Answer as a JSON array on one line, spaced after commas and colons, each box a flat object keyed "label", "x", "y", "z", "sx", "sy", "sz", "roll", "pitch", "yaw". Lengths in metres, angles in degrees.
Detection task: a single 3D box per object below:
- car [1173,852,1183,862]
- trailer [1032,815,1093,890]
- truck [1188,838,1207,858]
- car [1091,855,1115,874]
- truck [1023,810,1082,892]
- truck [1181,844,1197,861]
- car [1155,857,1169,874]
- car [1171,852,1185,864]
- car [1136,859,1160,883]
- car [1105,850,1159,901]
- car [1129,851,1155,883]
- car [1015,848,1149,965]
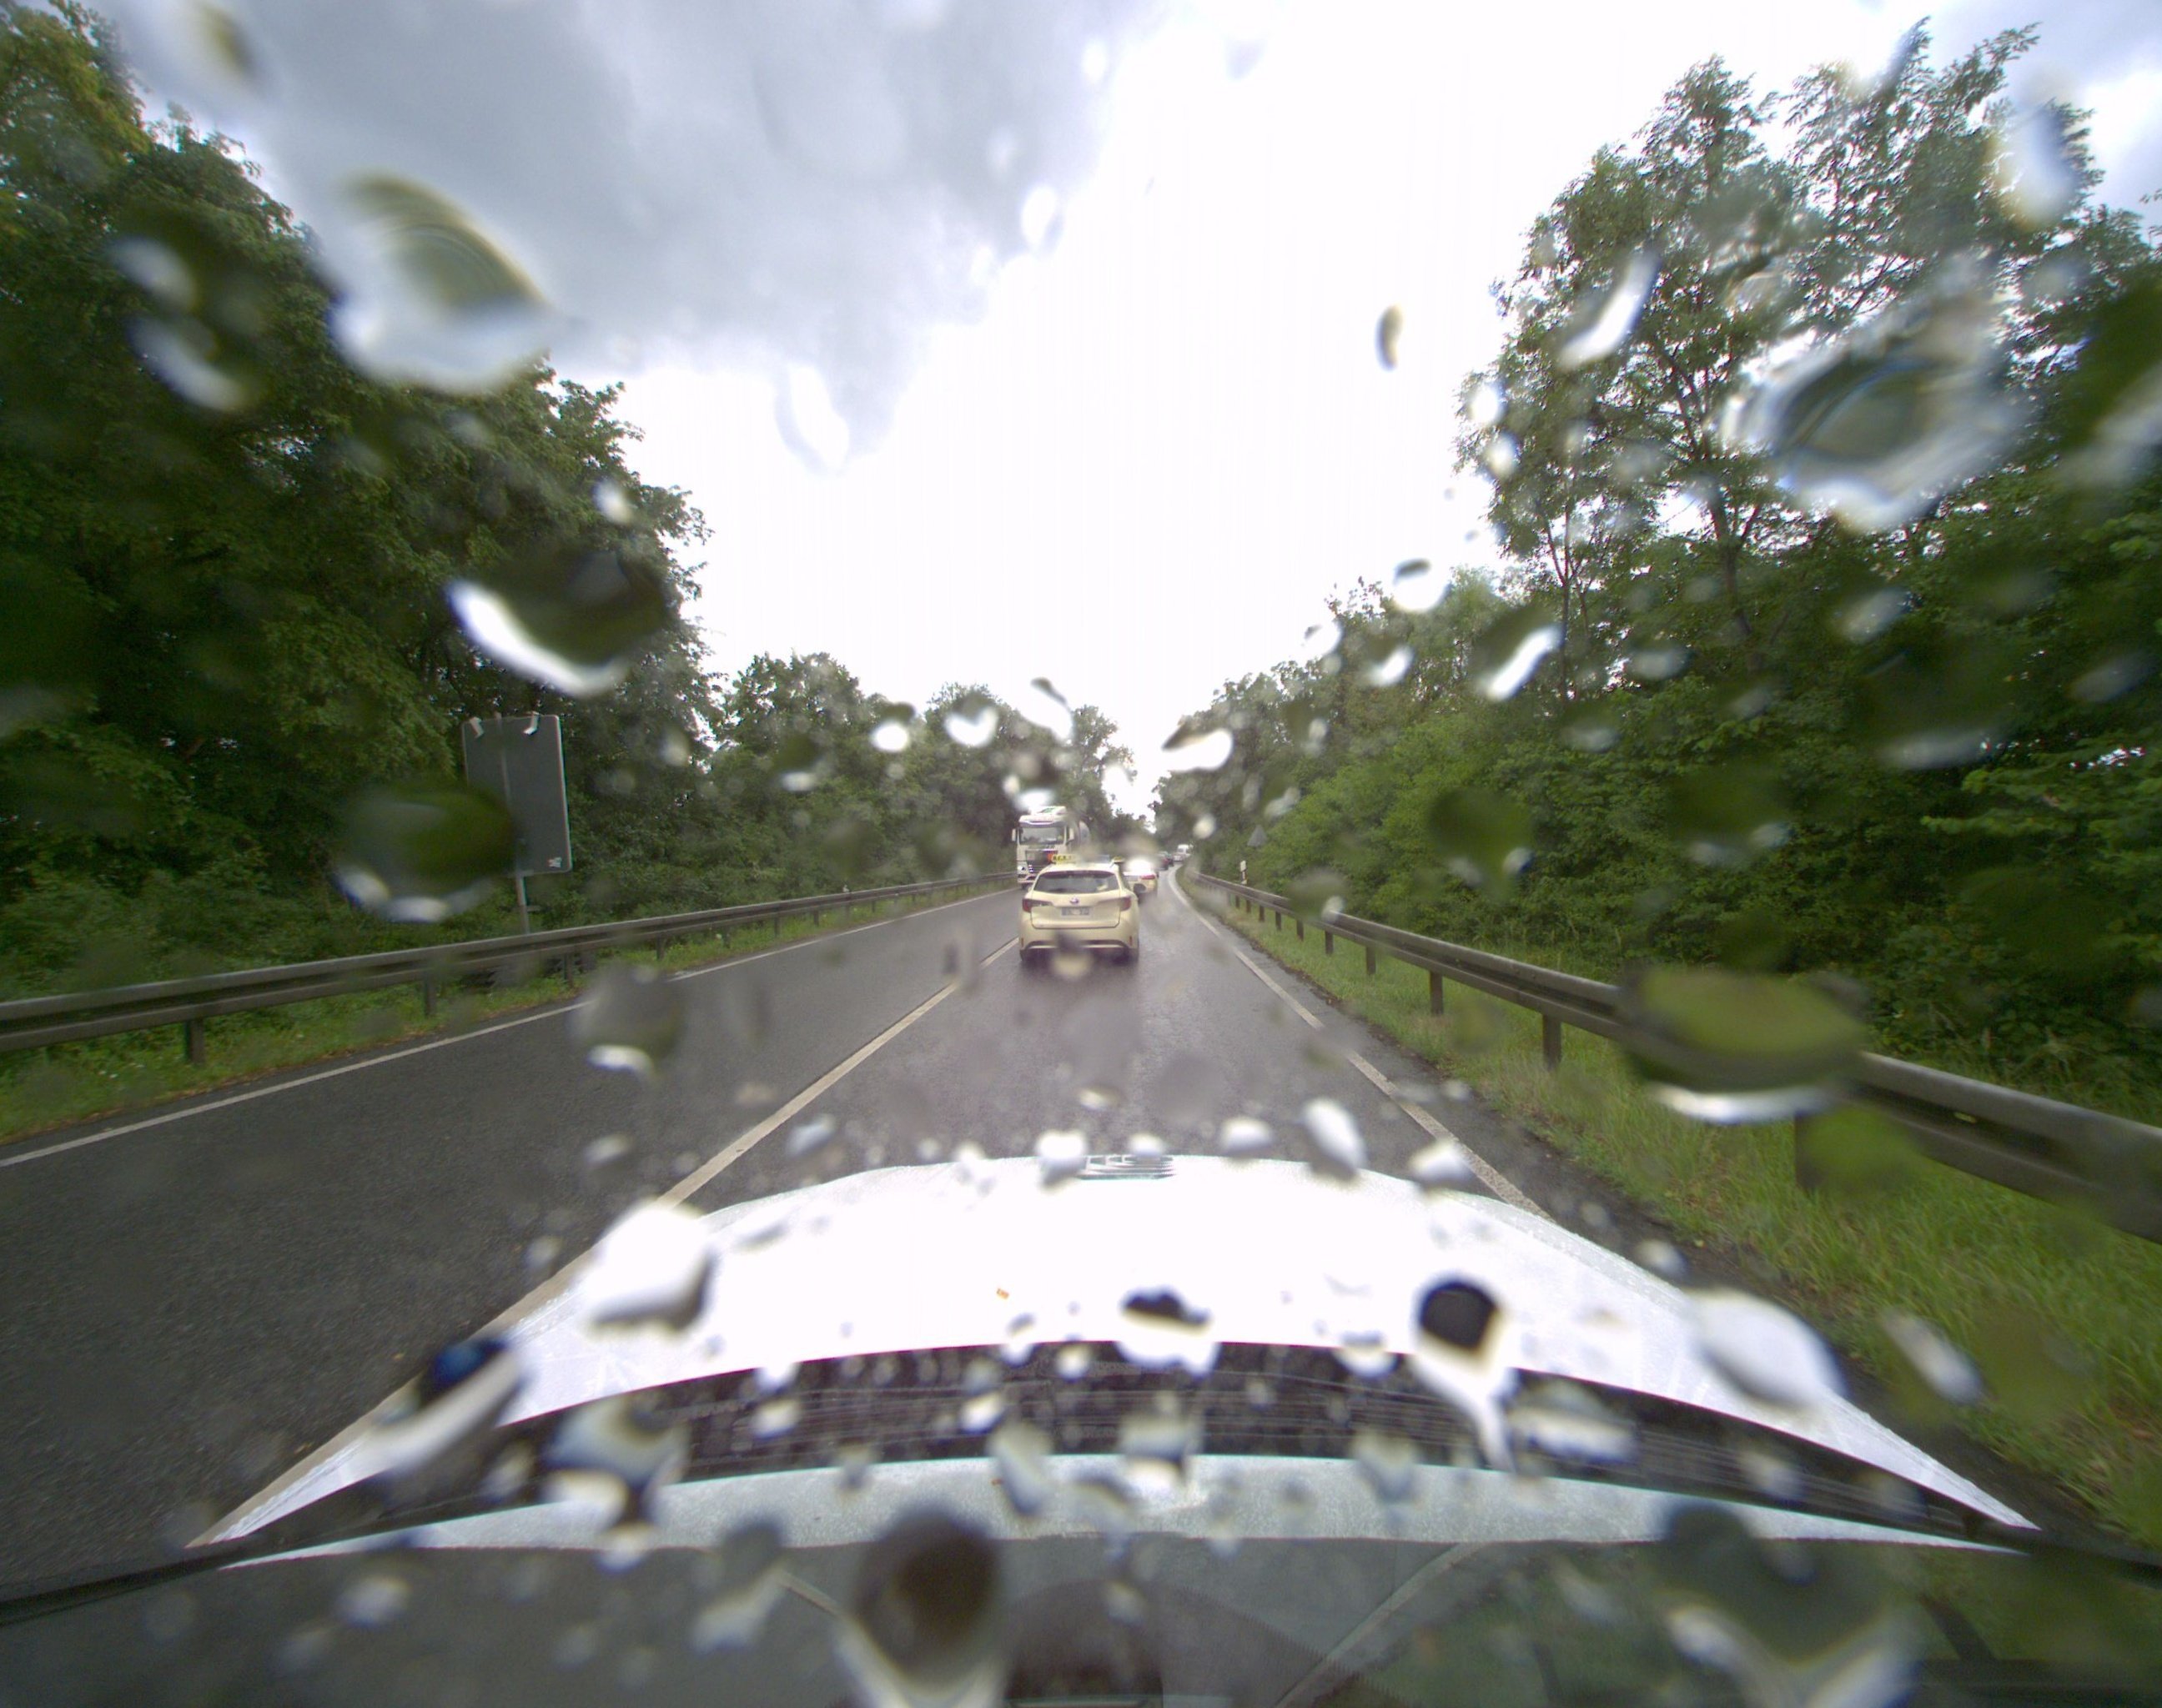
[{"label": "car", "x": 20.442, "y": 0.604, "z": 171.734, "sx": 1.572, "sy": 2.014, "sz": 3.777, "roll": -1, "pitch": -1, "yaw": 15}, {"label": "trailer", "x": -0.918, "y": -0.036, "z": 46.033, "sx": 2.524, "sy": 3.825, "sz": 7.802, "roll": 0, "pitch": -1, "yaw": 5}, {"label": "truck", "x": 22.507, "y": -1.119, "z": 157.417, "sx": 3.086, "sy": 3.680, "sz": 7.023, "roll": -1, "pitch": -1, "yaw": 12}, {"label": "car", "x": 1.923, "y": 0.905, "z": 69.135, "sx": 1.698, "sy": 1.516, "sz": 3.920, "roll": 0, "pitch": -1, "yaw": 7}, {"label": "truck", "x": -1.340, "y": -0.099, "z": 40.660, "sx": 2.526, "sy": 3.825, "sz": 5.248, "roll": 0, "pitch": -1, "yaw": 2}, {"label": "truck", "x": 18.066, "y": -0.175, "z": 136.285, "sx": 2.536, "sy": 2.713, "sz": 7.549, "roll": 0, "pitch": -1, "yaw": 7}, {"label": "car", "x": 7.683, "y": 1.115, "z": 76.930, "sx": 1.160, "sy": 1.547, "sz": 2.611, "roll": -1, "pitch": -1, "yaw": 10}, {"label": "car", "x": 13.640, "y": 0.583, "z": 114.113, "sx": 1.759, "sy": 1.547, "sz": 3.824, "roll": 0, "pitch": -1, "yaw": 10}, {"label": "car", "x": 4.720, "y": 1.166, "z": 56.879, "sx": 1.603, "sy": 1.547, "sz": 3.819, "roll": -1, "pitch": 0, "yaw": 5}, {"label": "car", "x": 1.780, "y": 0.696, "z": 27.546, "sx": 1.659, "sy": 1.580, "sz": 3.897, "roll": 0, "pitch": -1, "yaw": 5}, {"label": "car", "x": 3.148, "y": 0.657, "z": 42.018, "sx": 1.295, "sy": 1.547, "sz": 3.263, "roll": 0, "pitch": -1, "yaw": 4}, {"label": "car", "x": 0.089, "y": 0.734, "z": 13.154, "sx": 1.827, "sy": 1.580, "sz": 4.158, "roll": 0, "pitch": -1, "yaw": 2}]
